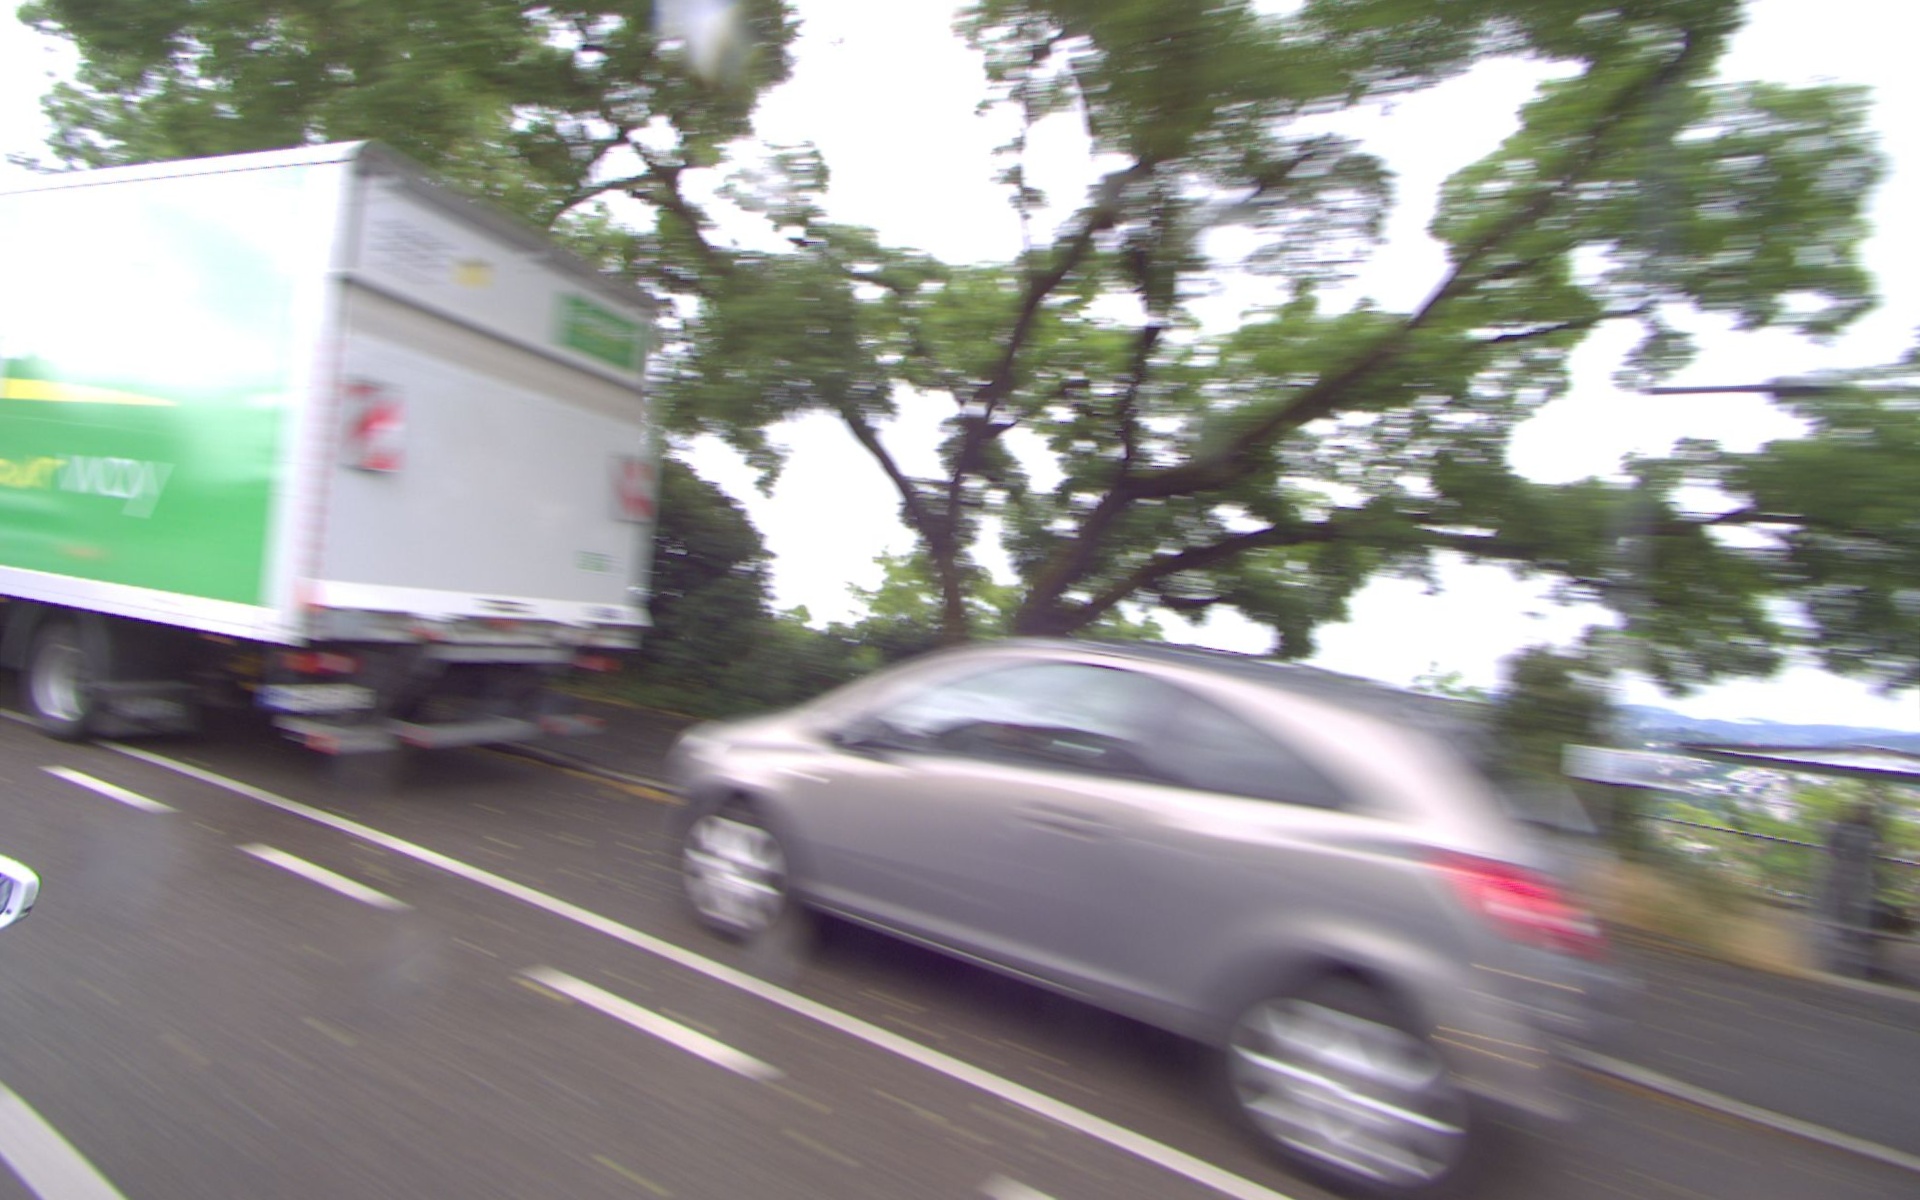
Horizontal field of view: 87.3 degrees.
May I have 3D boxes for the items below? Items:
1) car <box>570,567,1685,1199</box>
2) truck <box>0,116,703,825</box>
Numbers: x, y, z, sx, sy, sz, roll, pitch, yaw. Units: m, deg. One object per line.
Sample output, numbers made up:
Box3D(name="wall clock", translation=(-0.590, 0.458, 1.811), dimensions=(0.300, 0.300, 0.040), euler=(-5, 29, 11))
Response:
Box3D(name="car", translation=(0.431, 0.880, 4.289), dimensions=(4.068, 1.521, 1.735), euler=(7, 0, 33))
Box3D(name="truck", translation=(-6.670, -1.058, 7.899), dimensions=(8.769, 3.514, 2.782), euler=(7, 0, 22))
